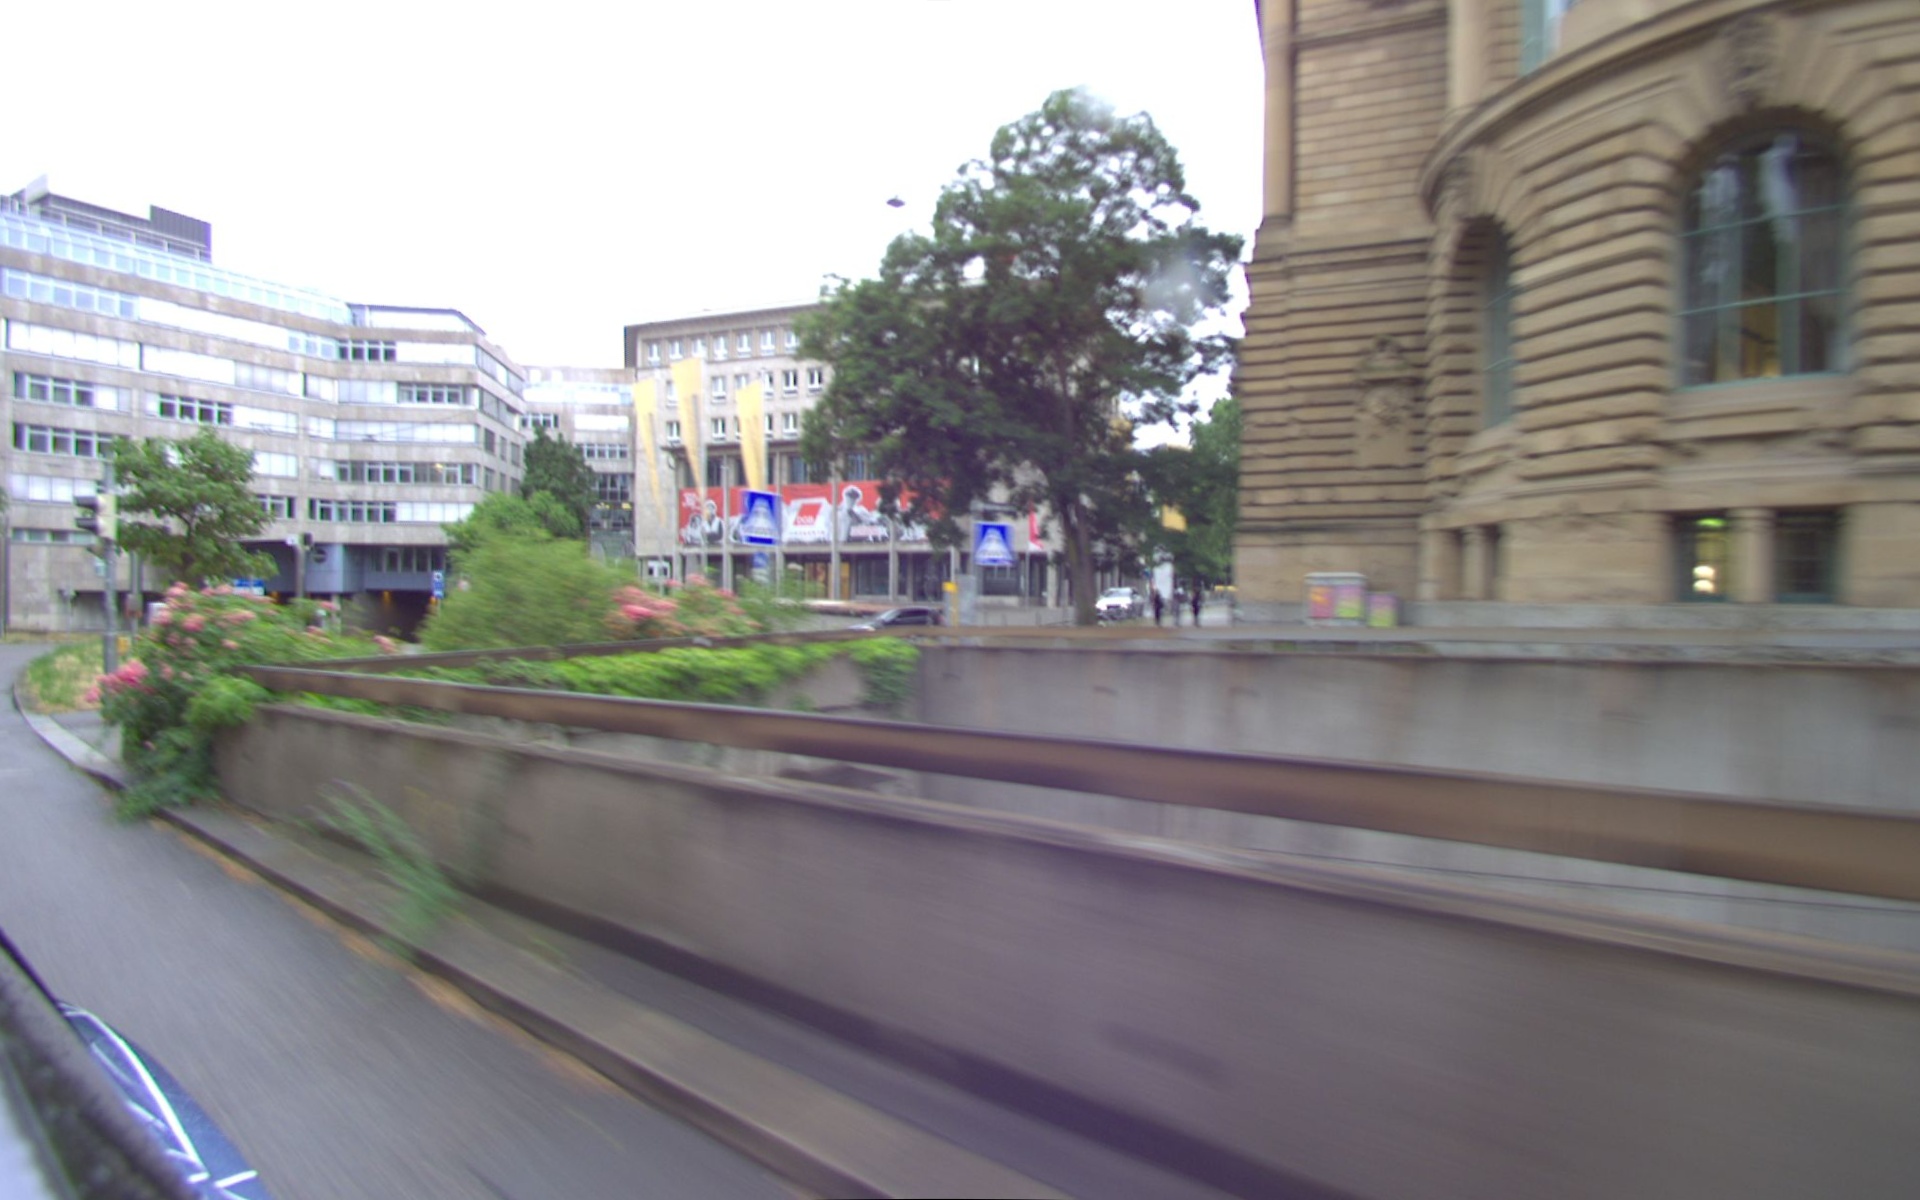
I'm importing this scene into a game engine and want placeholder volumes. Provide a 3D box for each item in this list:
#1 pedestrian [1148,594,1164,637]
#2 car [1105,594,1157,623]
[{"bbox_3d":[7.484,0.588,38.653,0.496,1.636,0.384,-1,-1,22],"label":"pedestrian"},{"bbox_3d":[9.723,0.497,57.315,1.987,1.568,4.181,-1,-1,22],"label":"car"}]
